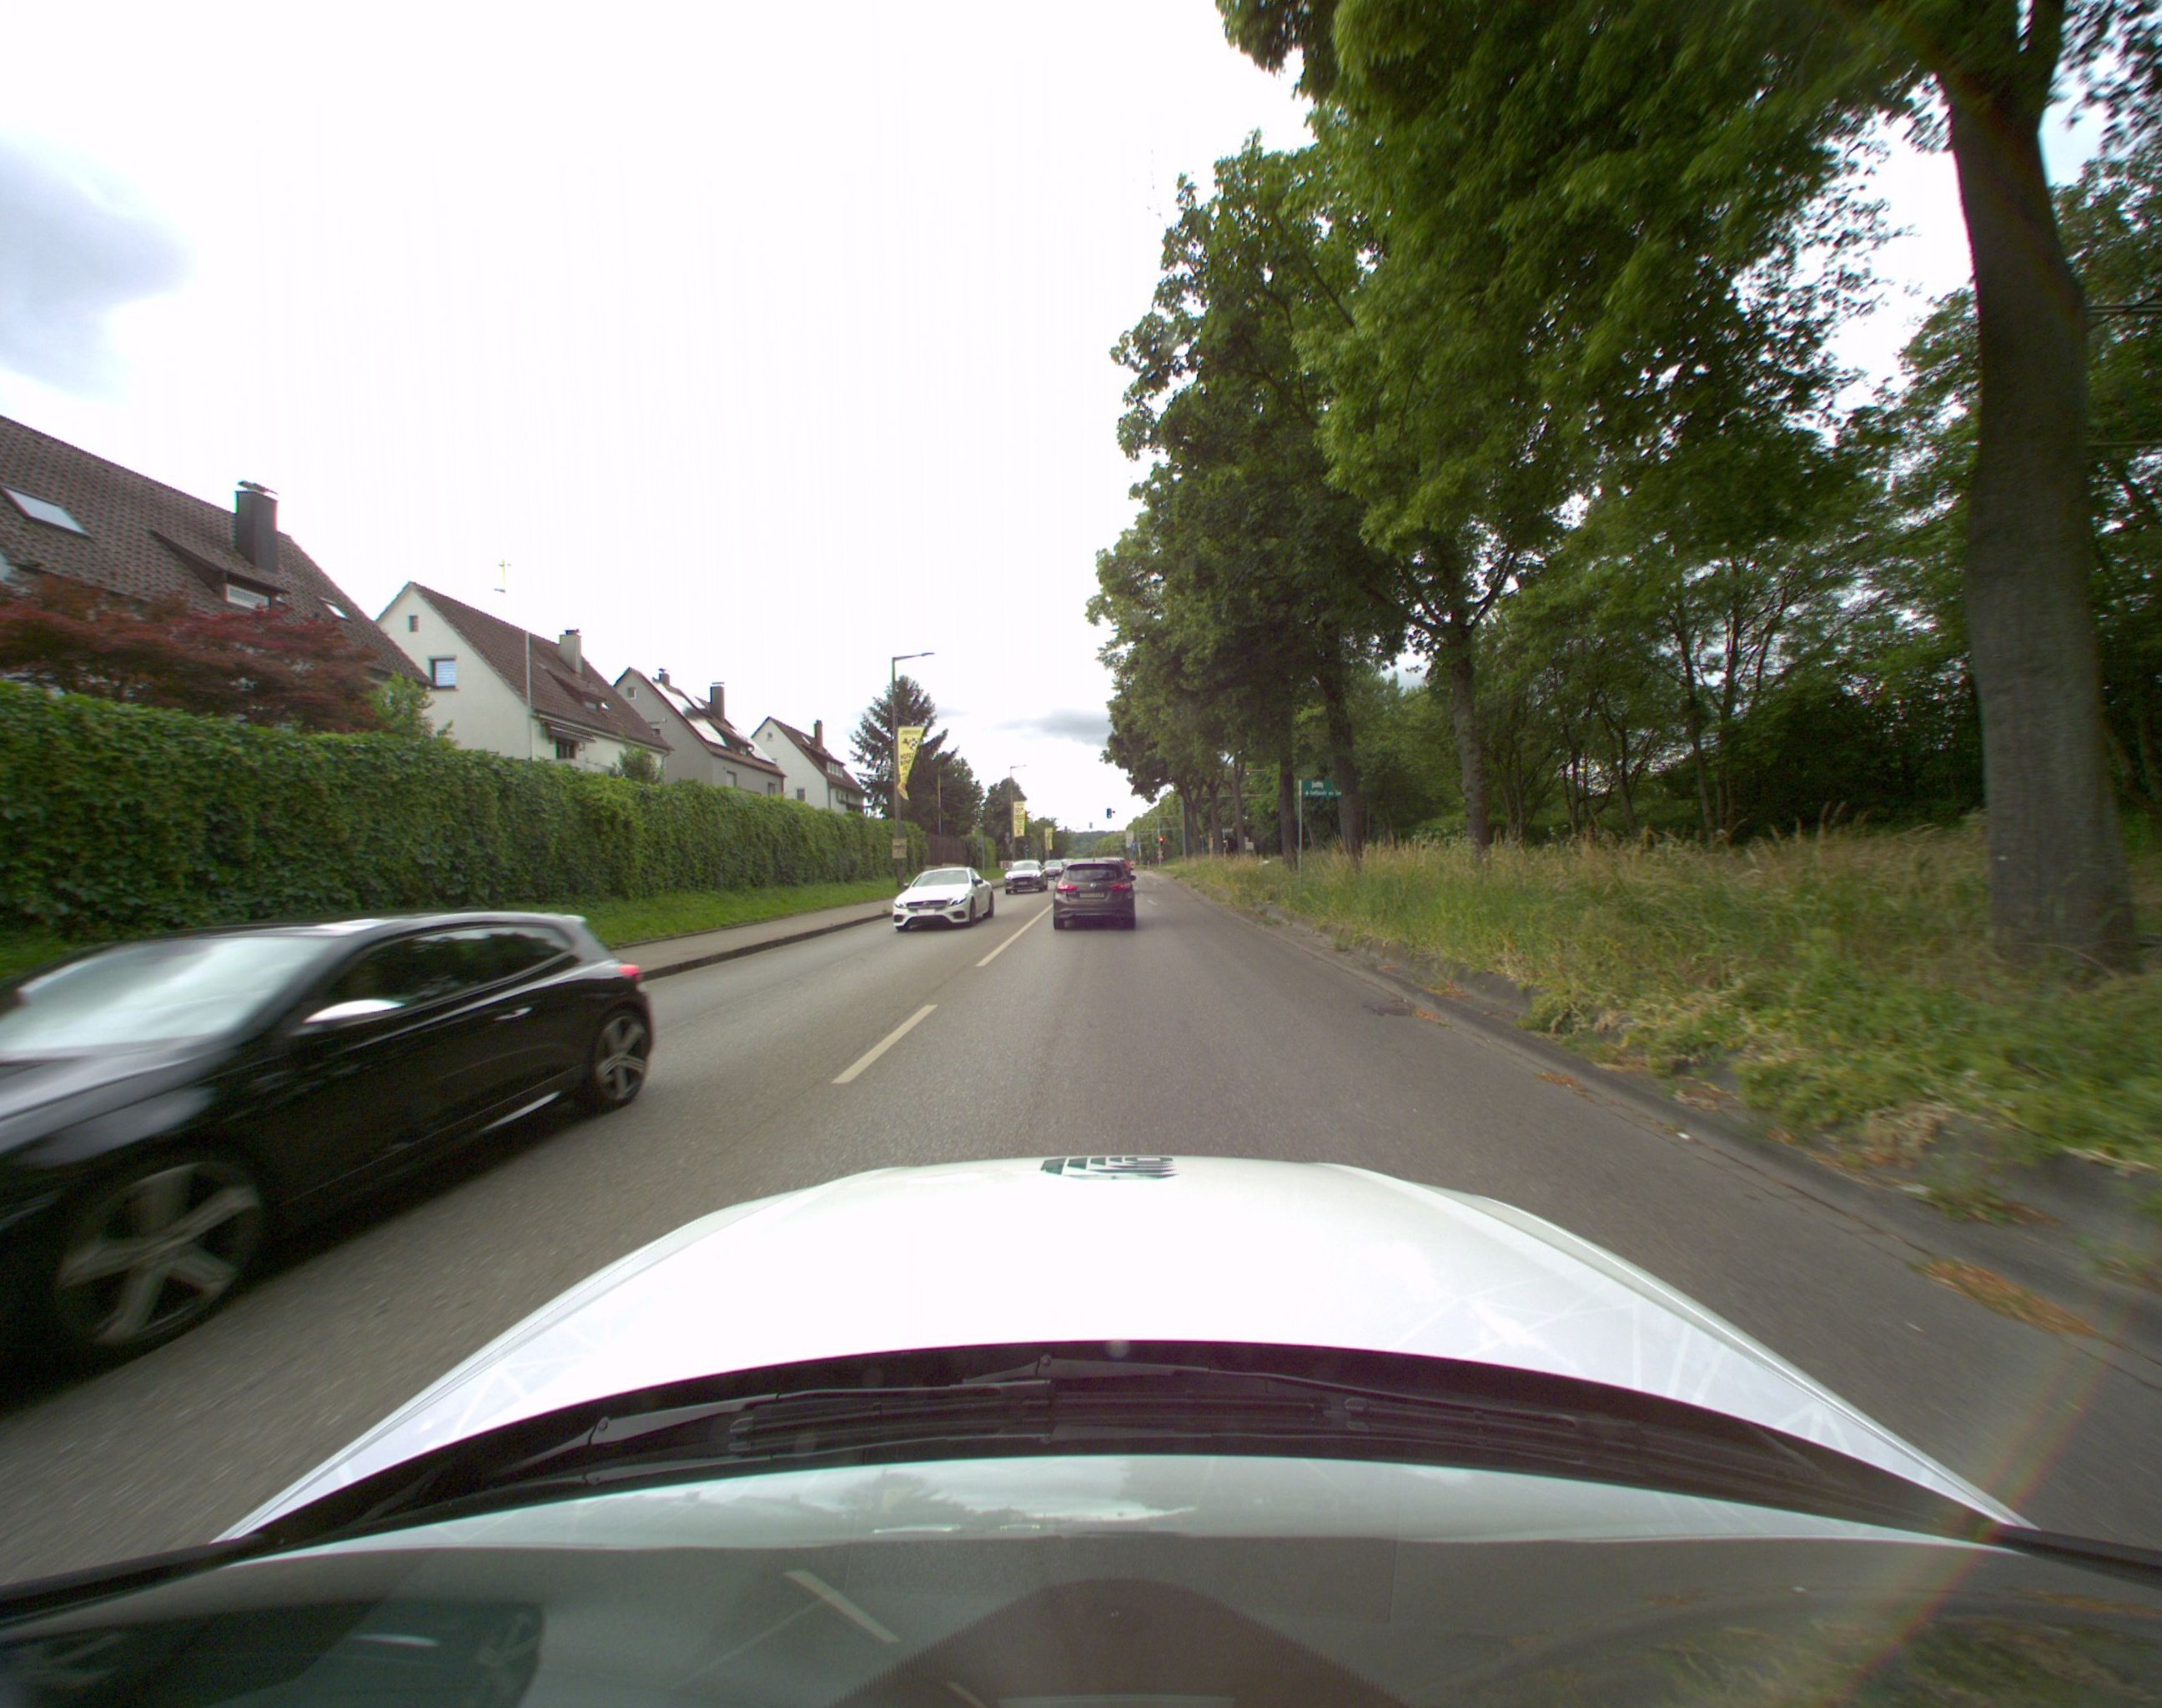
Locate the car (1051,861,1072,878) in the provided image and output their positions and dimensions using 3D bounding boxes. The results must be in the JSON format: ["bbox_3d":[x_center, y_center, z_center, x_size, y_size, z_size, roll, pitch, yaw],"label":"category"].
[{"bbox_3d":[-1.865,1.532,79.445,1.611,1.461,4.075,-5,0,3],"label":"car"}]

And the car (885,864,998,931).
[{"bbox_3d":[-3.422,1.034,20.862,1.879,1.383,4.493,-3,0,2],"label":"car"}]

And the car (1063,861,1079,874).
[{"bbox_3d":[-1.213,1.660,103.600,1.806,1.524,4.177,-4,0,0],"label":"car"}]

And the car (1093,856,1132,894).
[{"bbox_3d":[1.343,0.856,34.451,1.532,1.478,3.766,-2,0,2],"label":"car"}]

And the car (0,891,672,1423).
[{"bbox_3d":[-3.861,0.978,3.602,1.644,1.348,4.480,-3,0,2],"label":"car"}]

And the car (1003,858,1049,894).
[{"bbox_3d":[-2.597,1.031,39.078,1.745,1.518,4.001,-4,0,1],"label":"car"}]

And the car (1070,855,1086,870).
[{"bbox_3d":[-0.320,0.893,89.694,1.637,1.481,4.107,-4,0,1],"label":"car"}]

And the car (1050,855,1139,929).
[{"bbox_3d":[0.380,0.783,19.051,1.828,1.519,4.485,0,0,2],"label":"car"}]

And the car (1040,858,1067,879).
[{"bbox_3d":[-2.098,1.095,63.078,1.722,1.464,4.155,-3,0,2],"label":"car"}]
